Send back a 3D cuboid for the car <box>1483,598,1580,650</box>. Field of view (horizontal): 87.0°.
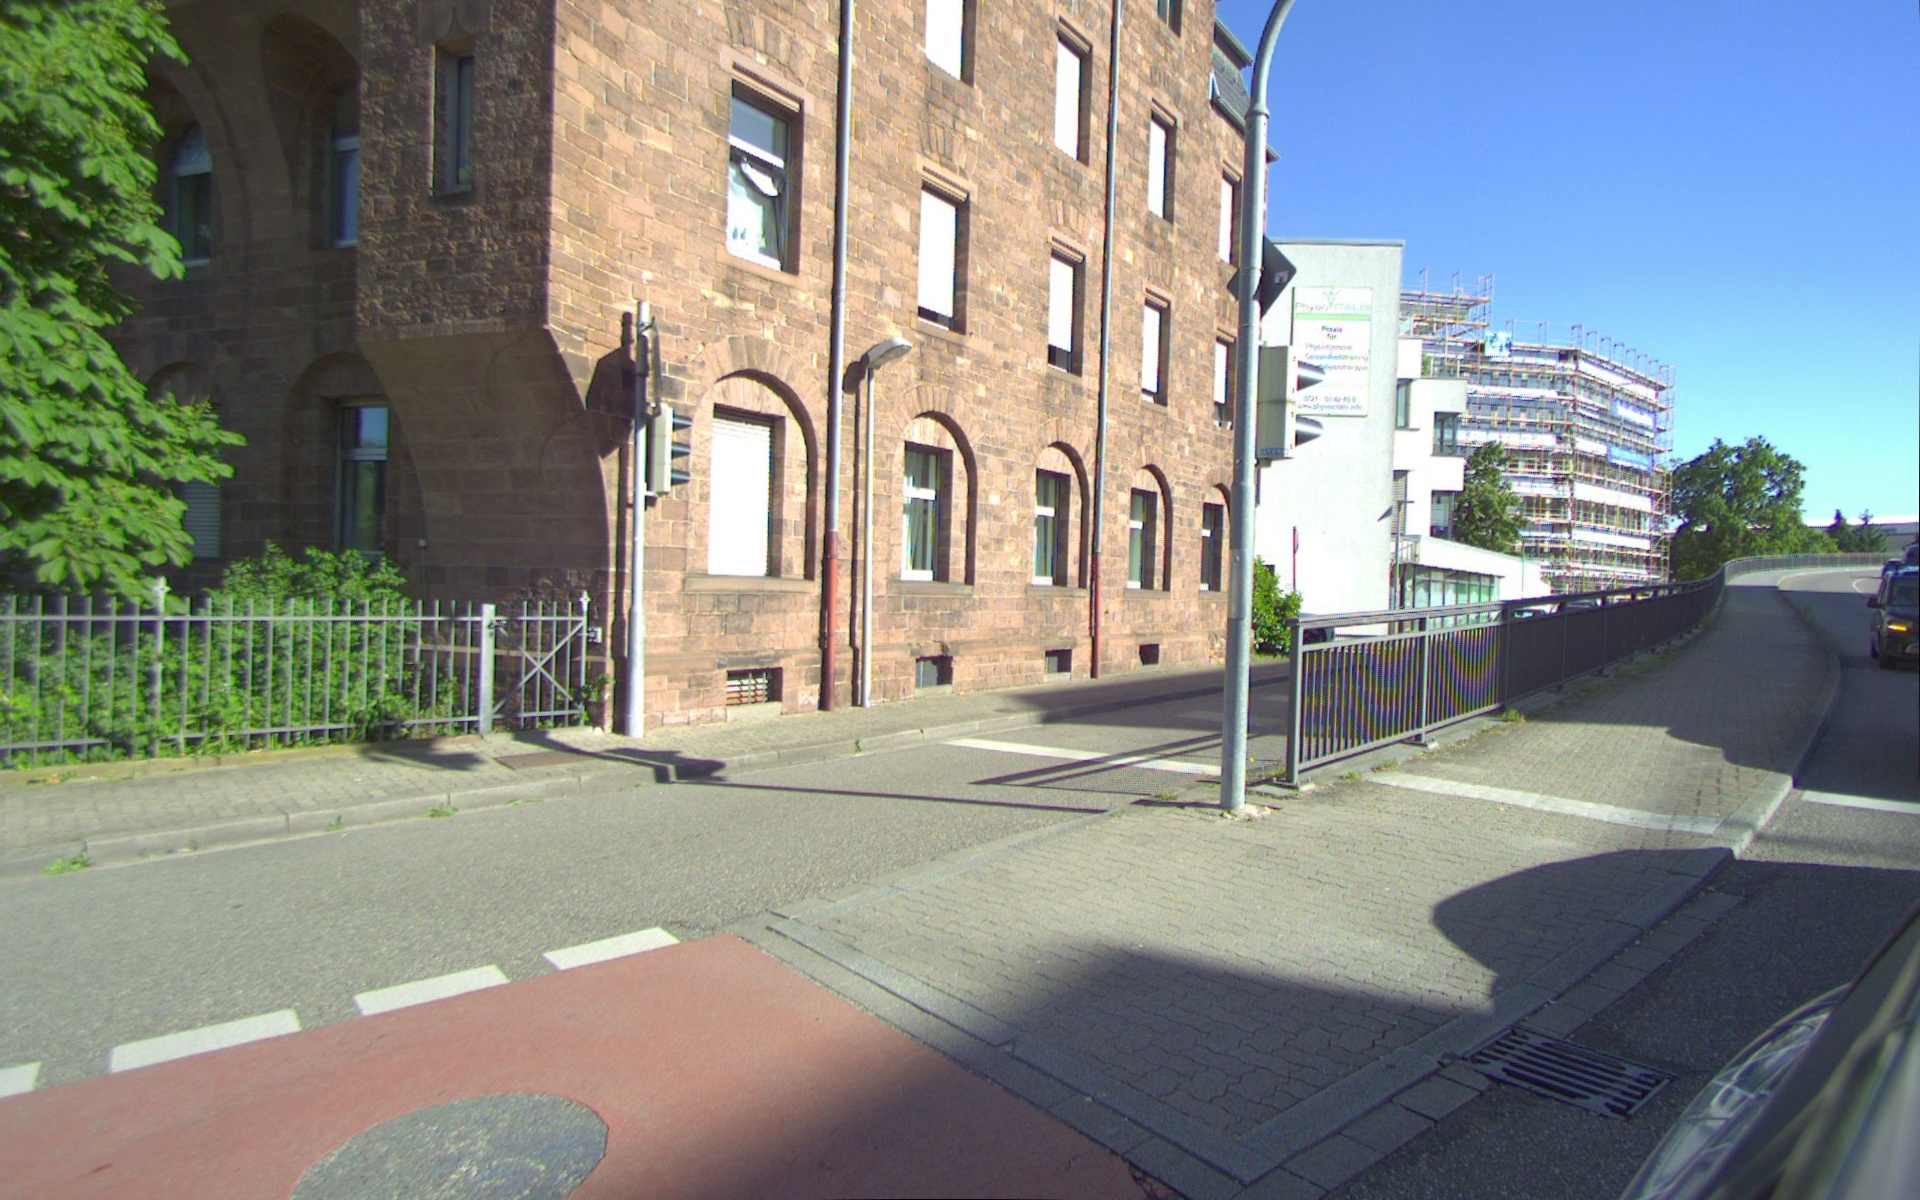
[{"bbox_3d":[19.118,0.751,33.758,1.844,1.448,4.611,1,3,42],"label":"car"}]

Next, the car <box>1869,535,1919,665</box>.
[{"bbox_3d":[18.458,-0.050,18.810,1.901,2.240,4.538,3,4,37],"label":"car"}]

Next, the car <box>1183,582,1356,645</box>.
[{"bbox_3d":[9.095,0.373,30.055,4.562,1.789,1.828,0,2,2],"label":"car"}]

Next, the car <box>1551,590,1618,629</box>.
[{"bbox_3d":[27.586,0.403,44.646,1.843,1.554,3.940,3,2,41],"label":"car"}]

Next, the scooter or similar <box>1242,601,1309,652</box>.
[{"bbox_3d":[7.903,0.658,25.372,1.453,1.234,0.775,-1,-1,35],"label":"scooter or similar"}]
